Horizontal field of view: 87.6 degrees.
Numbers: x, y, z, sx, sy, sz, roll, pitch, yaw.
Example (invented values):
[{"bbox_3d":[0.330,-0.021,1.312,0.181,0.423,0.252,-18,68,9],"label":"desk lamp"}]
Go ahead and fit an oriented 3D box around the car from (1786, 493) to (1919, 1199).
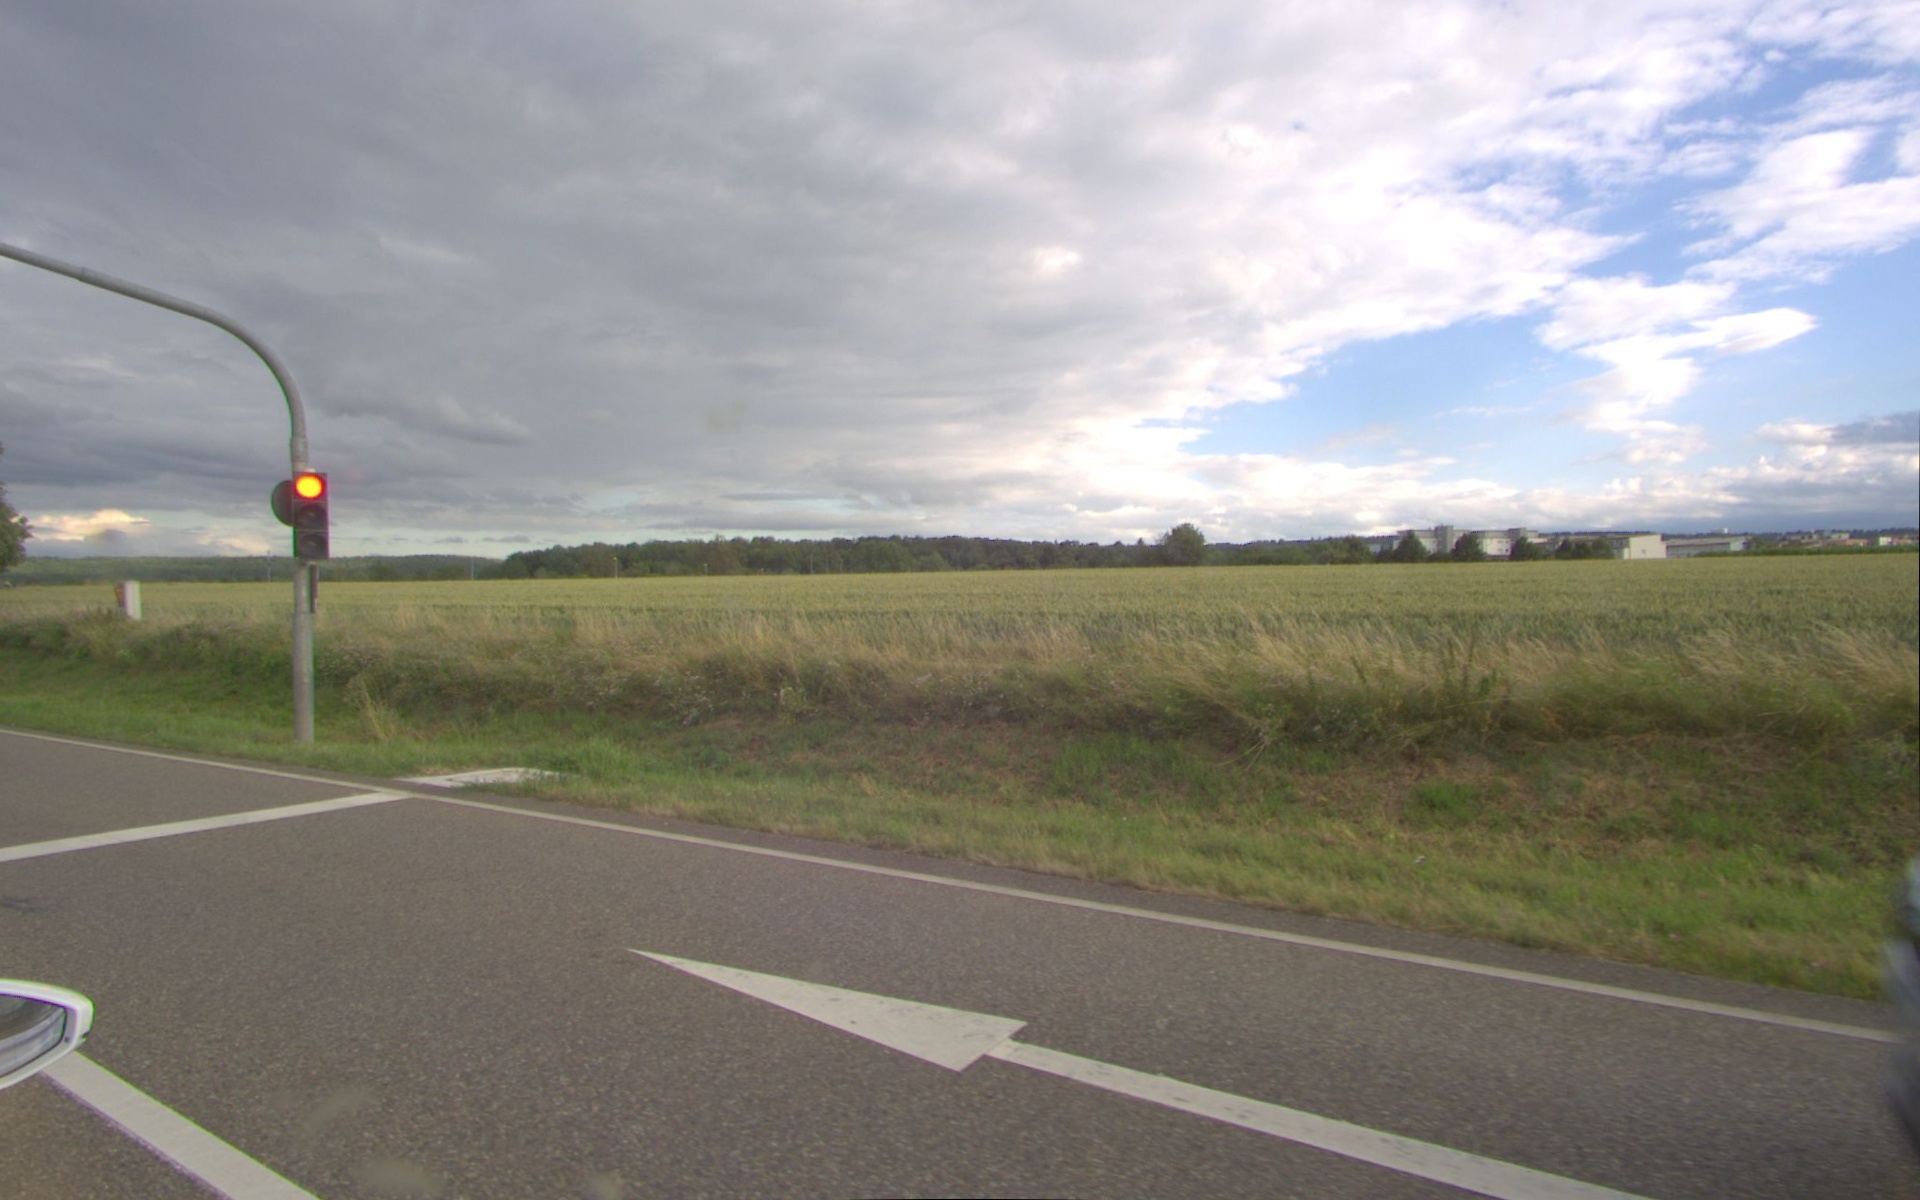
[{"bbox_3d":[3.979,0.631,1.104,4.492,1.730,1.833,-1,-2,32],"label":"car"}]
